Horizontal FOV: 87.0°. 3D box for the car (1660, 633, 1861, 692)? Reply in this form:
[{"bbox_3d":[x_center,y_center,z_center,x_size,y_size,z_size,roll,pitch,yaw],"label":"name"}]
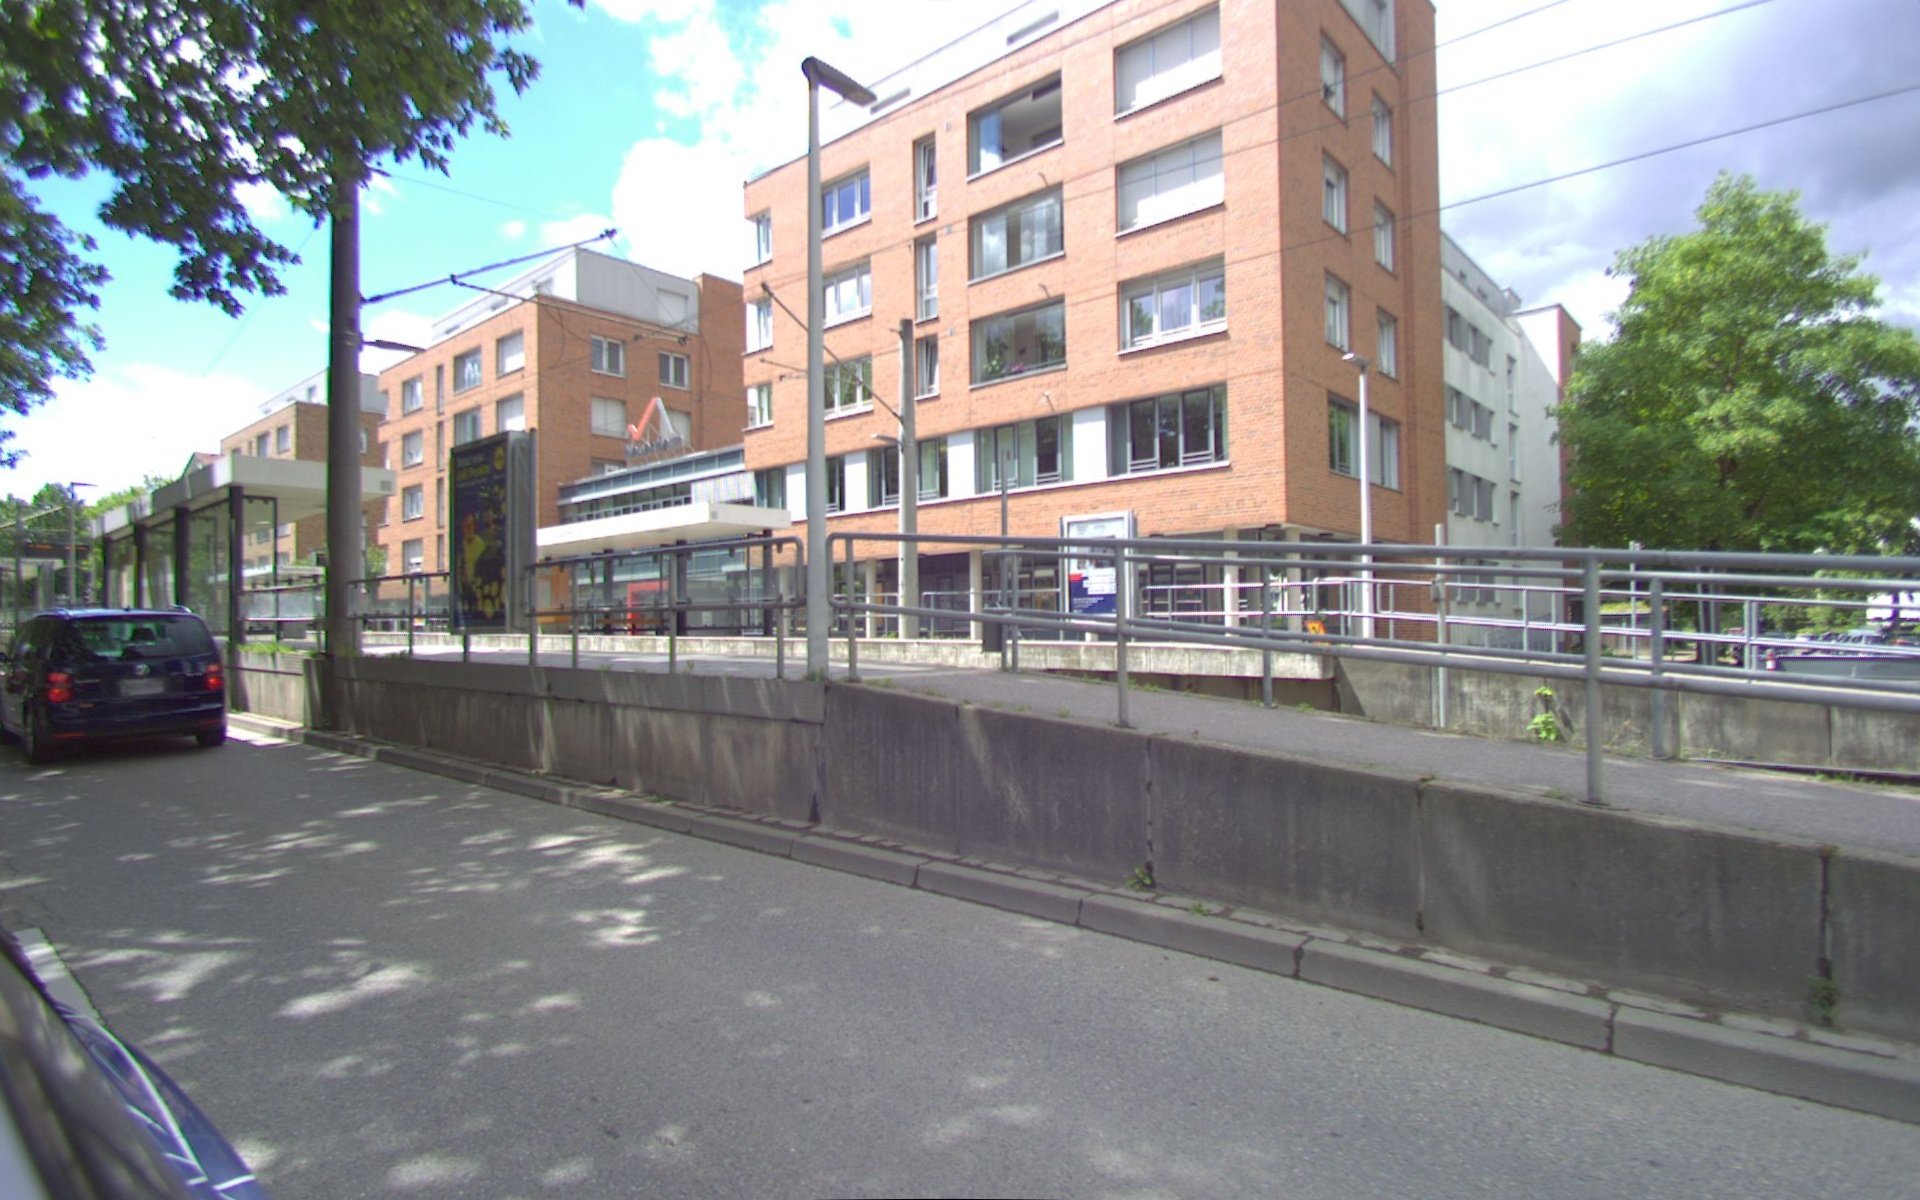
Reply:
[{"bbox_3d":[21.244,1.612,26.951,4.002,1.437,1.822,-2,-3,45],"label":"car"}]

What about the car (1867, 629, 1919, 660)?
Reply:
[{"bbox_3d":[46.949,2.205,50.818,1.936,1.497,3.946,-2,-3,40],"label":"car"}]

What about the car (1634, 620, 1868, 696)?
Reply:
[{"bbox_3d":[17.851,1.266,22.949,4.000,1.564,1.874,-2,-3,43],"label":"car"}]

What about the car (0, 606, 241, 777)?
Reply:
[{"bbox_3d":[-10.124,0.940,11.940,4.116,1.645,1.735,-2,0,41],"label":"car"}]

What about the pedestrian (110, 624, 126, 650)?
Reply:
[{"bbox_3d":[-59.839,2.625,71.915,0.828,1.839,0.736,-3,-3,40],"label":"pedestrian"}]

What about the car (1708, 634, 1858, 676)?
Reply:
[{"bbox_3d":[29.592,1.953,36.455,4.002,1.437,1.822,-2,-3,45],"label":"car"}]

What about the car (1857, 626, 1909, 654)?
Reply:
[{"bbox_3d":[50.352,2.176,55.276,1.936,1.497,3.946,-2,-3,40],"label":"car"}]

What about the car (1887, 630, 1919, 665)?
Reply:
[{"bbox_3d":[43.189,2.120,45.581,1.936,1.497,3.946,-2,-3,40],"label":"car"}]

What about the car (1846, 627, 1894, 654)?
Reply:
[{"bbox_3d":[53.136,2.366,59.172,1.936,1.497,3.946,-2,-3,40],"label":"car"}]

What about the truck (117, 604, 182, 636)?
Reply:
[{"bbox_3d":[-107.188,2.713,134.084,2.588,4.124,9.631,0,-2,-12],"label":"truck"}]

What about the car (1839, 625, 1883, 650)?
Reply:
[{"bbox_3d":[56.004,2.336,62.953,1.936,1.497,3.946,-2,-3,40],"label":"car"}]

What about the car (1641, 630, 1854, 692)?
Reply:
[{"bbox_3d":[19.597,1.475,25.284,4.002,1.437,1.822,-2,-3,45],"label":"car"}]

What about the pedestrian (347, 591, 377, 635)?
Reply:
[{"bbox_3d":[-22.471,0.484,38.016,0.815,1.641,0.743,-2,-1,41],"label":"pedestrian"}]
